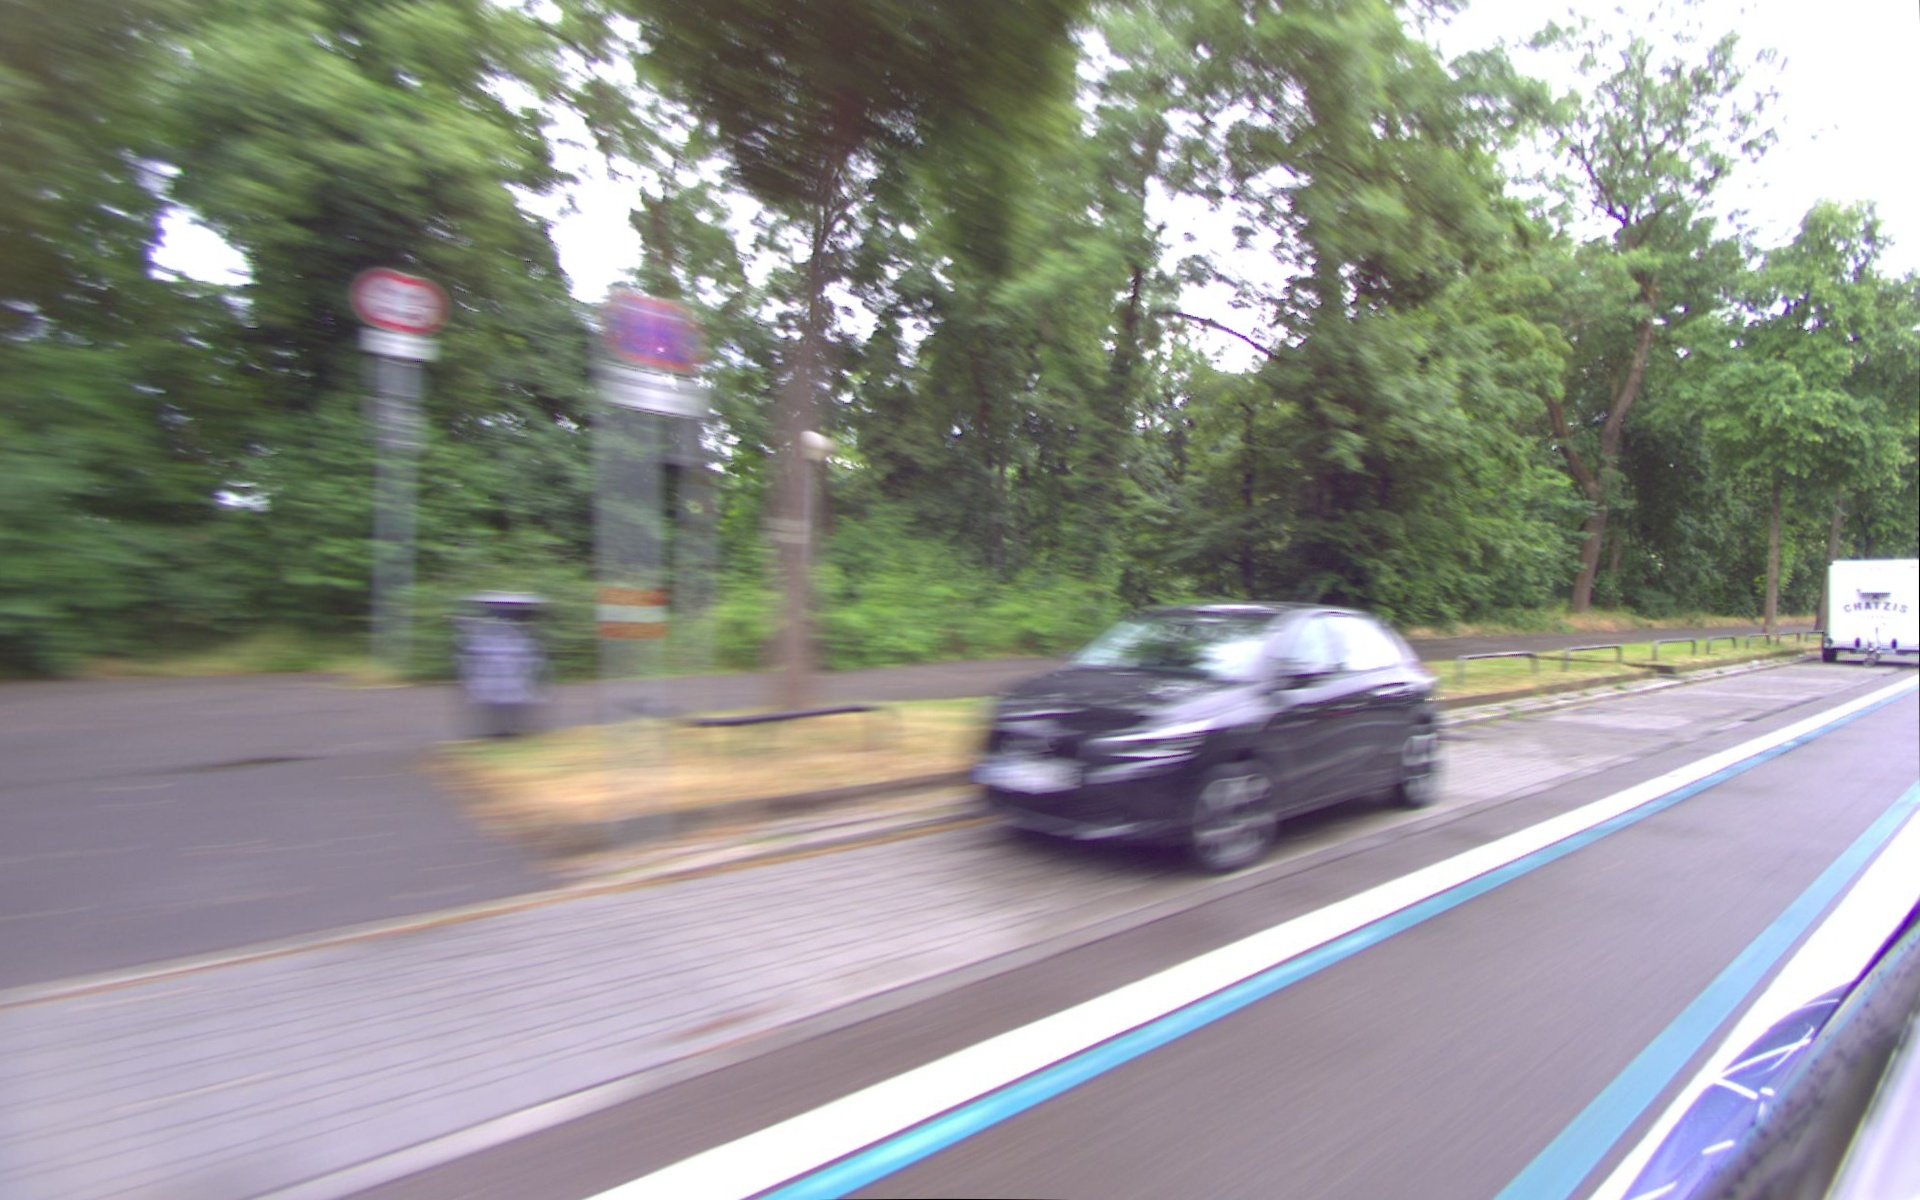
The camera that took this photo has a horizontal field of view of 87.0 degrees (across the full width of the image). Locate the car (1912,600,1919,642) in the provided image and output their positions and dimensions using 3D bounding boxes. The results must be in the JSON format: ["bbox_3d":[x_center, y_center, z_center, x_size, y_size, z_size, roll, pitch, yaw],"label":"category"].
[{"bbox_3d":[35.802,0.755,36.478,3.931,1.482,1.803,0,1,-42],"label":"car"}]

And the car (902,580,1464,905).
[{"bbox_3d":[1.674,0.660,6.709,3.930,1.495,1.697,0,1,-43],"label":"car"}]

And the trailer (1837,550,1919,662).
[{"bbox_3d":[23.330,0.133,25.147,3.934,2.597,1.985,0,1,-44],"label":"trailer"}]
